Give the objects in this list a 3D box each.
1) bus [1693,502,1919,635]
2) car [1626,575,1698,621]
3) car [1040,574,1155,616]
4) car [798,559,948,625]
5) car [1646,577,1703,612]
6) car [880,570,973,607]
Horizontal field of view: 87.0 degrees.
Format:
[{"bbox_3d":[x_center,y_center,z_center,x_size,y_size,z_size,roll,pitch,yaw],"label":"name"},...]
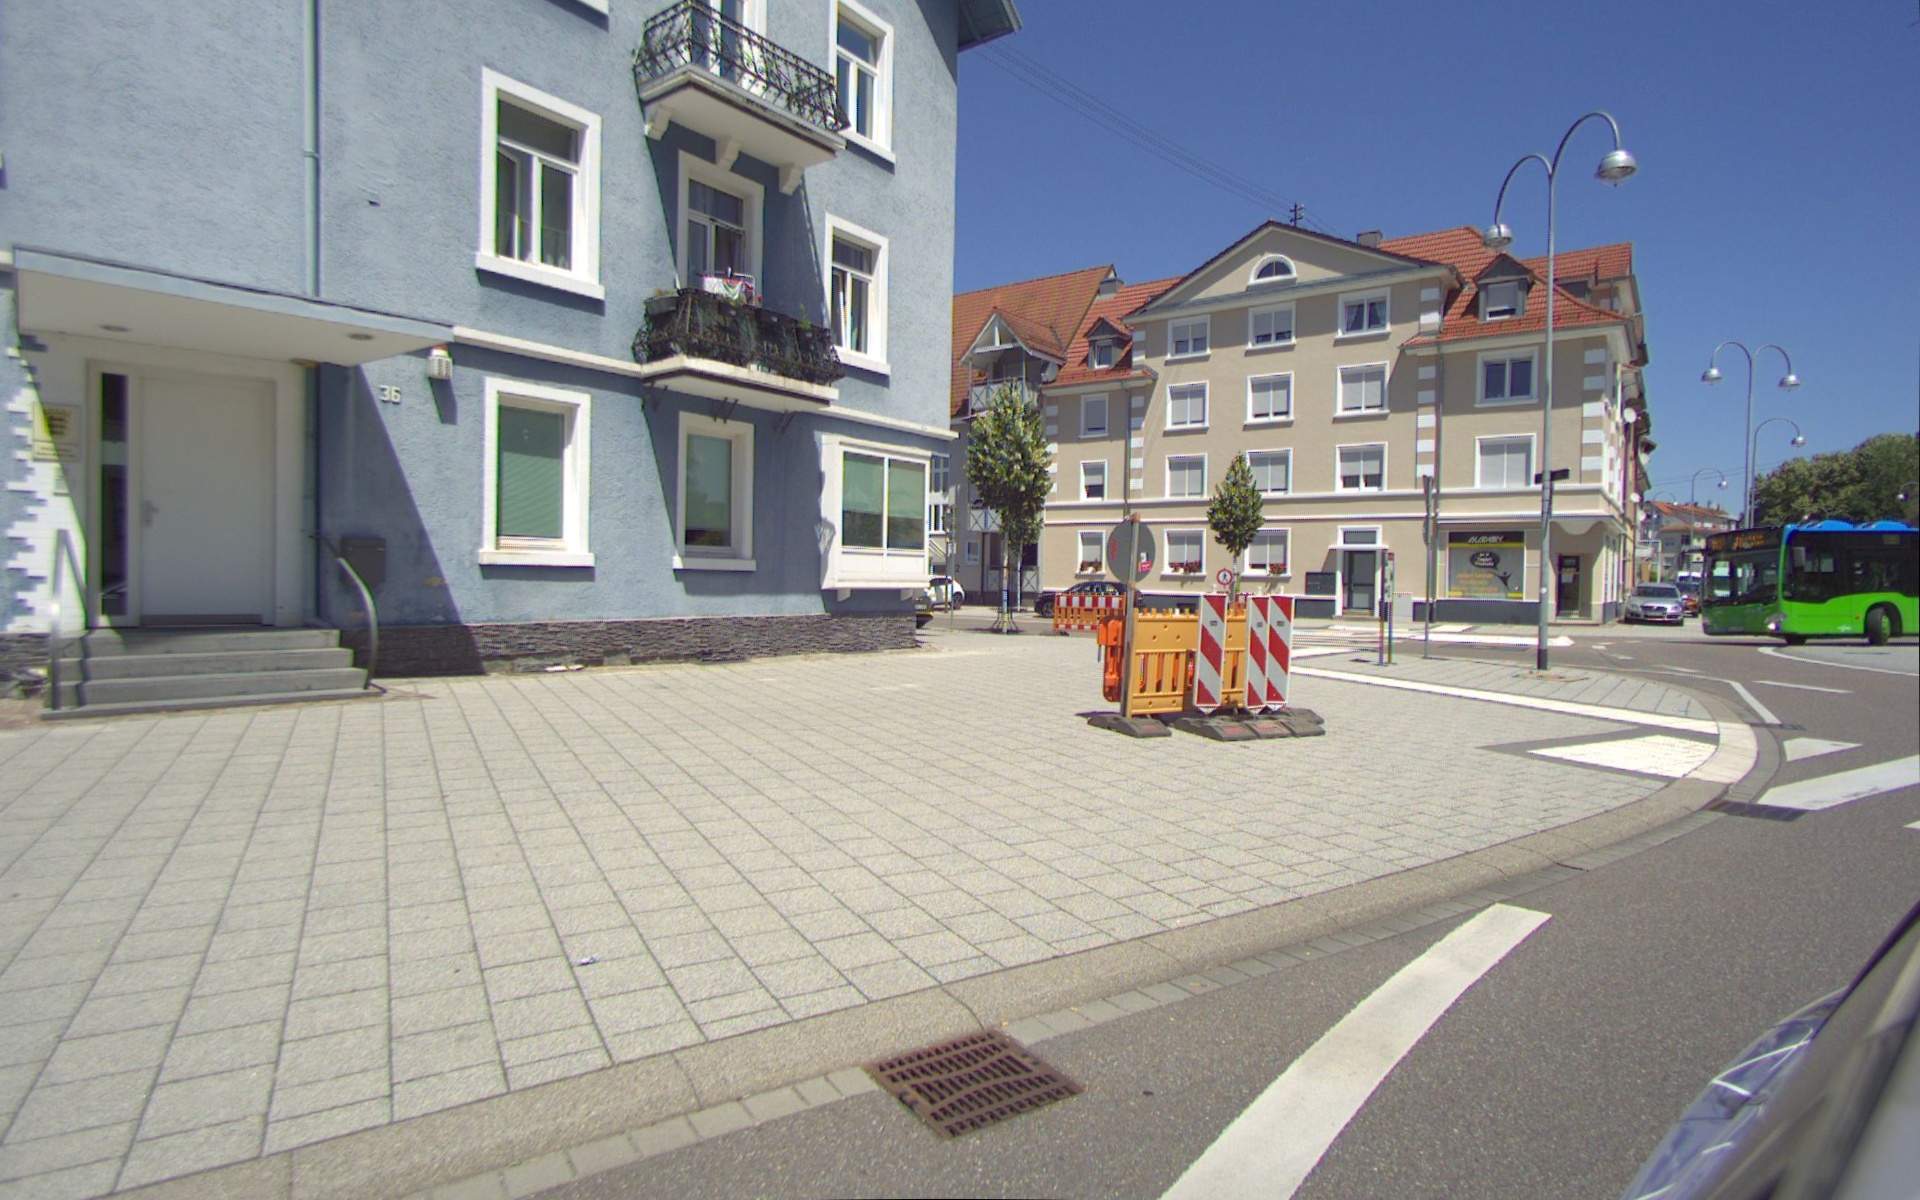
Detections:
[{"bbox_3d":[25.798,-0.695,25.974,12.312,3.119,2.915,1,0,-4],"label":"bus"},{"bbox_3d":[25.444,-0.129,36.630,1.819,1.427,3.945,5,5,39],"label":"car"},{"bbox_3d":[5.261,-0.228,38.767,3.965,1.463,1.880,1,2,29],"label":"car"},{"bbox_3d":[-2.515,-0.261,28.583,4.228,1.720,1.737,2,0,40],"label":"car"},{"bbox_3d":[32.686,-0.271,46.263,1.819,1.427,3.944,5,4,39],"label":"car"},{"bbox_3d":[-1.403,-0.538,44.383,1.802,1.463,4.189,2,3,39],"label":"car"}]
